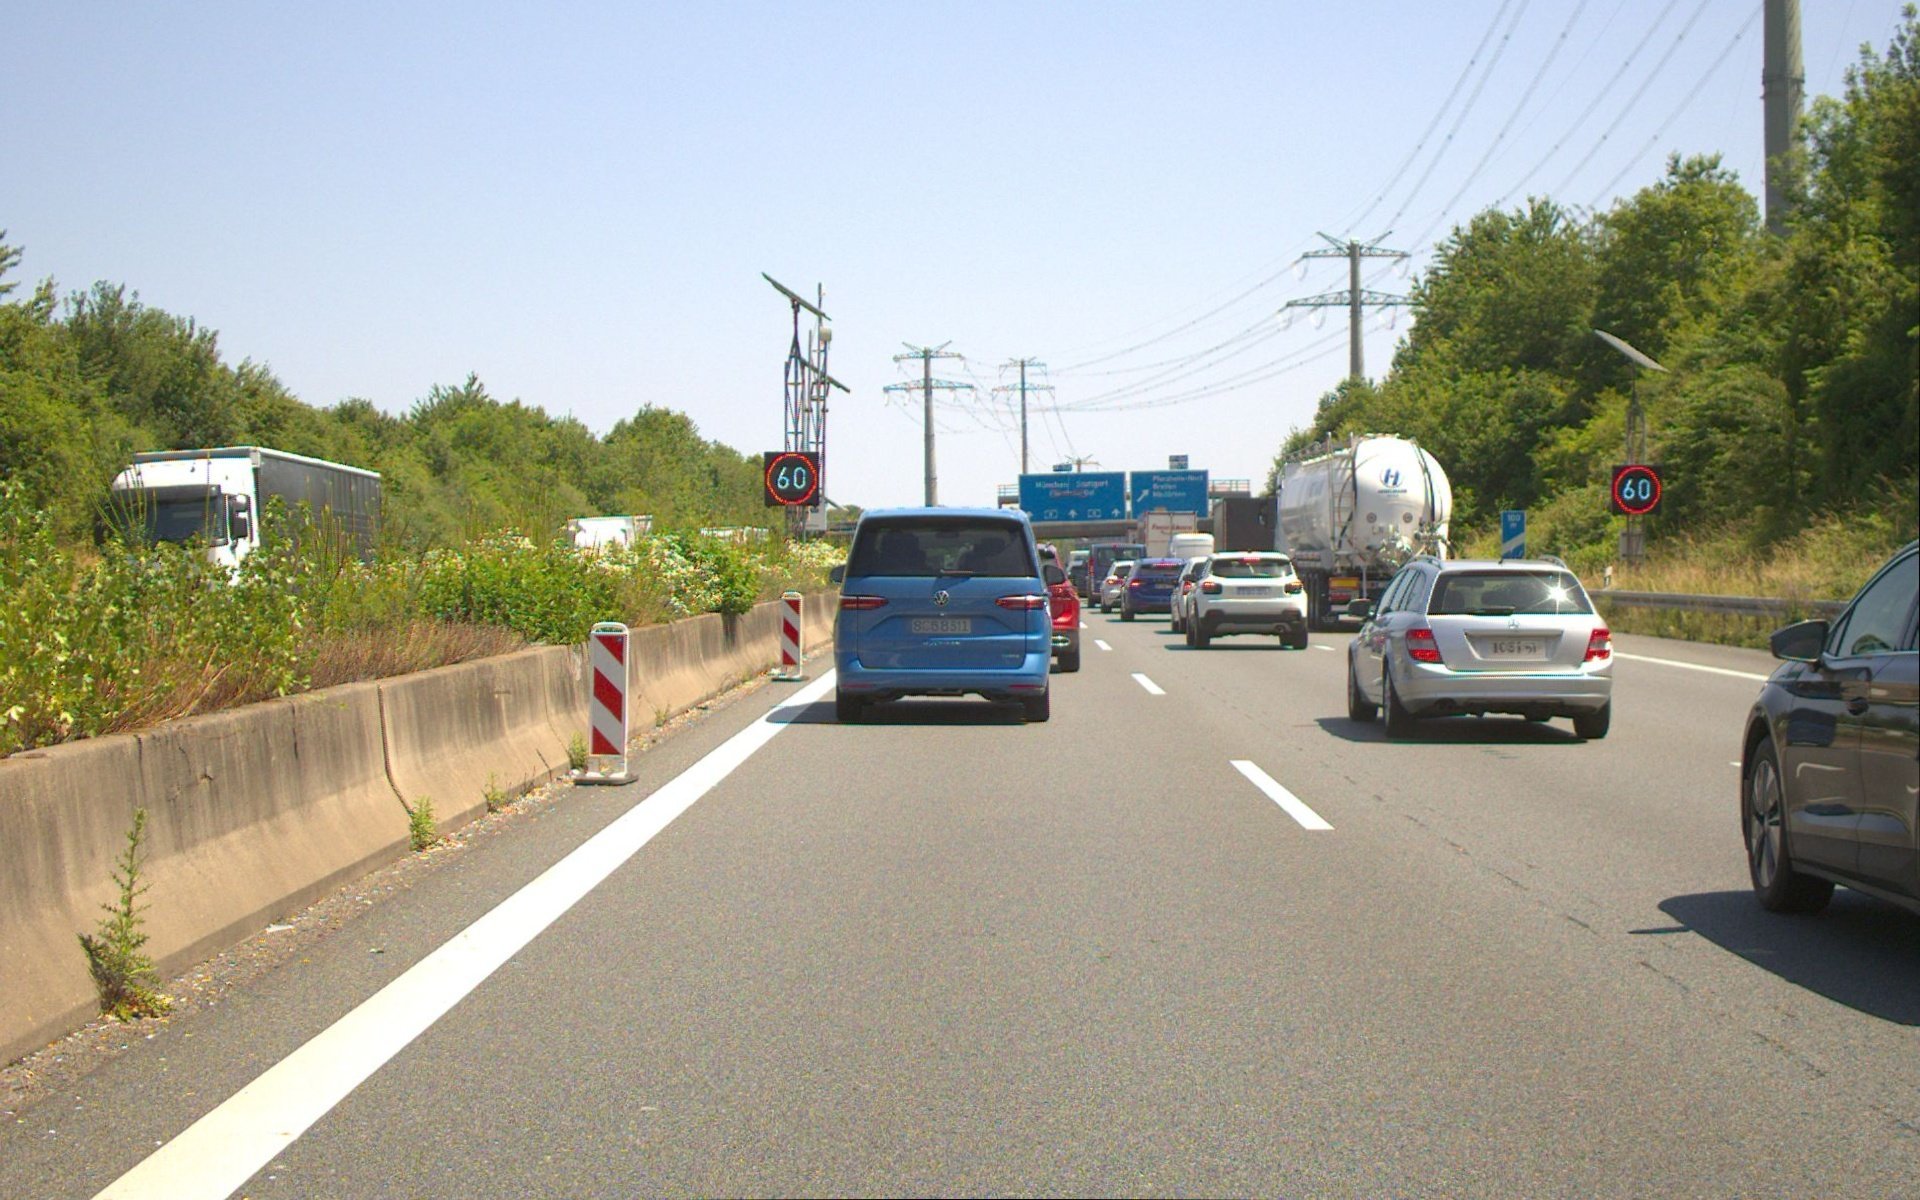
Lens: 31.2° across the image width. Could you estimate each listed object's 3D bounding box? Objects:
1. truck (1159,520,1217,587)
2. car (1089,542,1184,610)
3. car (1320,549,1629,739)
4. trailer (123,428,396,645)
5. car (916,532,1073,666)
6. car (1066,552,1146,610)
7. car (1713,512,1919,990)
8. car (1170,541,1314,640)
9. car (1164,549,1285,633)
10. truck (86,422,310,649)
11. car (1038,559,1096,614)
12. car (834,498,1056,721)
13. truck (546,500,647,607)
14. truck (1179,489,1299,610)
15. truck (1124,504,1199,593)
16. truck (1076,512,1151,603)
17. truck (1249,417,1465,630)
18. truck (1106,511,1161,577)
[{"bbox_3d":[9.449,-1.923,142.832,1.993,2.714,5.680,1,1,0],"label":"truck"},{"bbox_3d":[4.093,-0.572,80.257,1.908,1.511,4.384,1,1,-1],"label":"car"},{"bbox_3d":[4.178,0.309,28.575,1.821,1.432,4.384,1,1,-1],"label":"car"},{"bbox_3d":[-15.096,-1.362,75.478,2.753,4.152,14.197,-4,1,0],"label":"trailer"},{"bbox_3d":[0.411,-0.040,44.127,1.908,1.625,4.384,0,1,0],"label":"car"},{"bbox_3d":[3.955,-0.543,93.804,1.908,1.511,4.384,1,1,-1],"label":"car"},{"bbox_3d":[4.148,0.494,12.510,1.828,1.609,4.431,0,1,0],"label":"car"},{"bbox_3d":[4.495,-0.172,55.310,1.908,1.503,3.922,1,1,-1],"label":"car"},{"bbox_3d":[5.116,-0.199,66.984,1.908,1.564,4.384,1,1,-1],"label":"car"},{"bbox_3d":[-15.120,-1.273,68.677,2.751,4.152,6.411,-4,1,0],"label":"truck"},{"bbox_3d":[3.981,-0.528,128.648,1.993,2.007,4.000,1,1,0],"label":"car"},{"bbox_3d":[-0.177,0.052,31.518,1.871,1.873,4.384,1,1,-1],"label":"car"},{"bbox_3d":[-14.151,-1.808,134.451,2.762,3.875,9.030,-4,1,0],"label":"truck"},{"bbox_3d":[8.569,-1.561,106.968,2.644,3.526,12.552,1,1,0],"label":"truck"},{"bbox_3d":[10.090,-2.573,172.999,2.938,4.276,12.552,1,1,0],"label":"truck"},{"bbox_3d":[4.693,-1.321,106.007,1.993,2.714,5.680,1,1,0],"label":"truck"},{"bbox_3d":[8.320,-1.575,74.268,2.644,4.058,16.441,1,1,0],"label":"truck"},{"bbox_3d":[11.522,-3.710,229.894,2.938,4.276,12.552,1,1,0],"label":"truck"}]
